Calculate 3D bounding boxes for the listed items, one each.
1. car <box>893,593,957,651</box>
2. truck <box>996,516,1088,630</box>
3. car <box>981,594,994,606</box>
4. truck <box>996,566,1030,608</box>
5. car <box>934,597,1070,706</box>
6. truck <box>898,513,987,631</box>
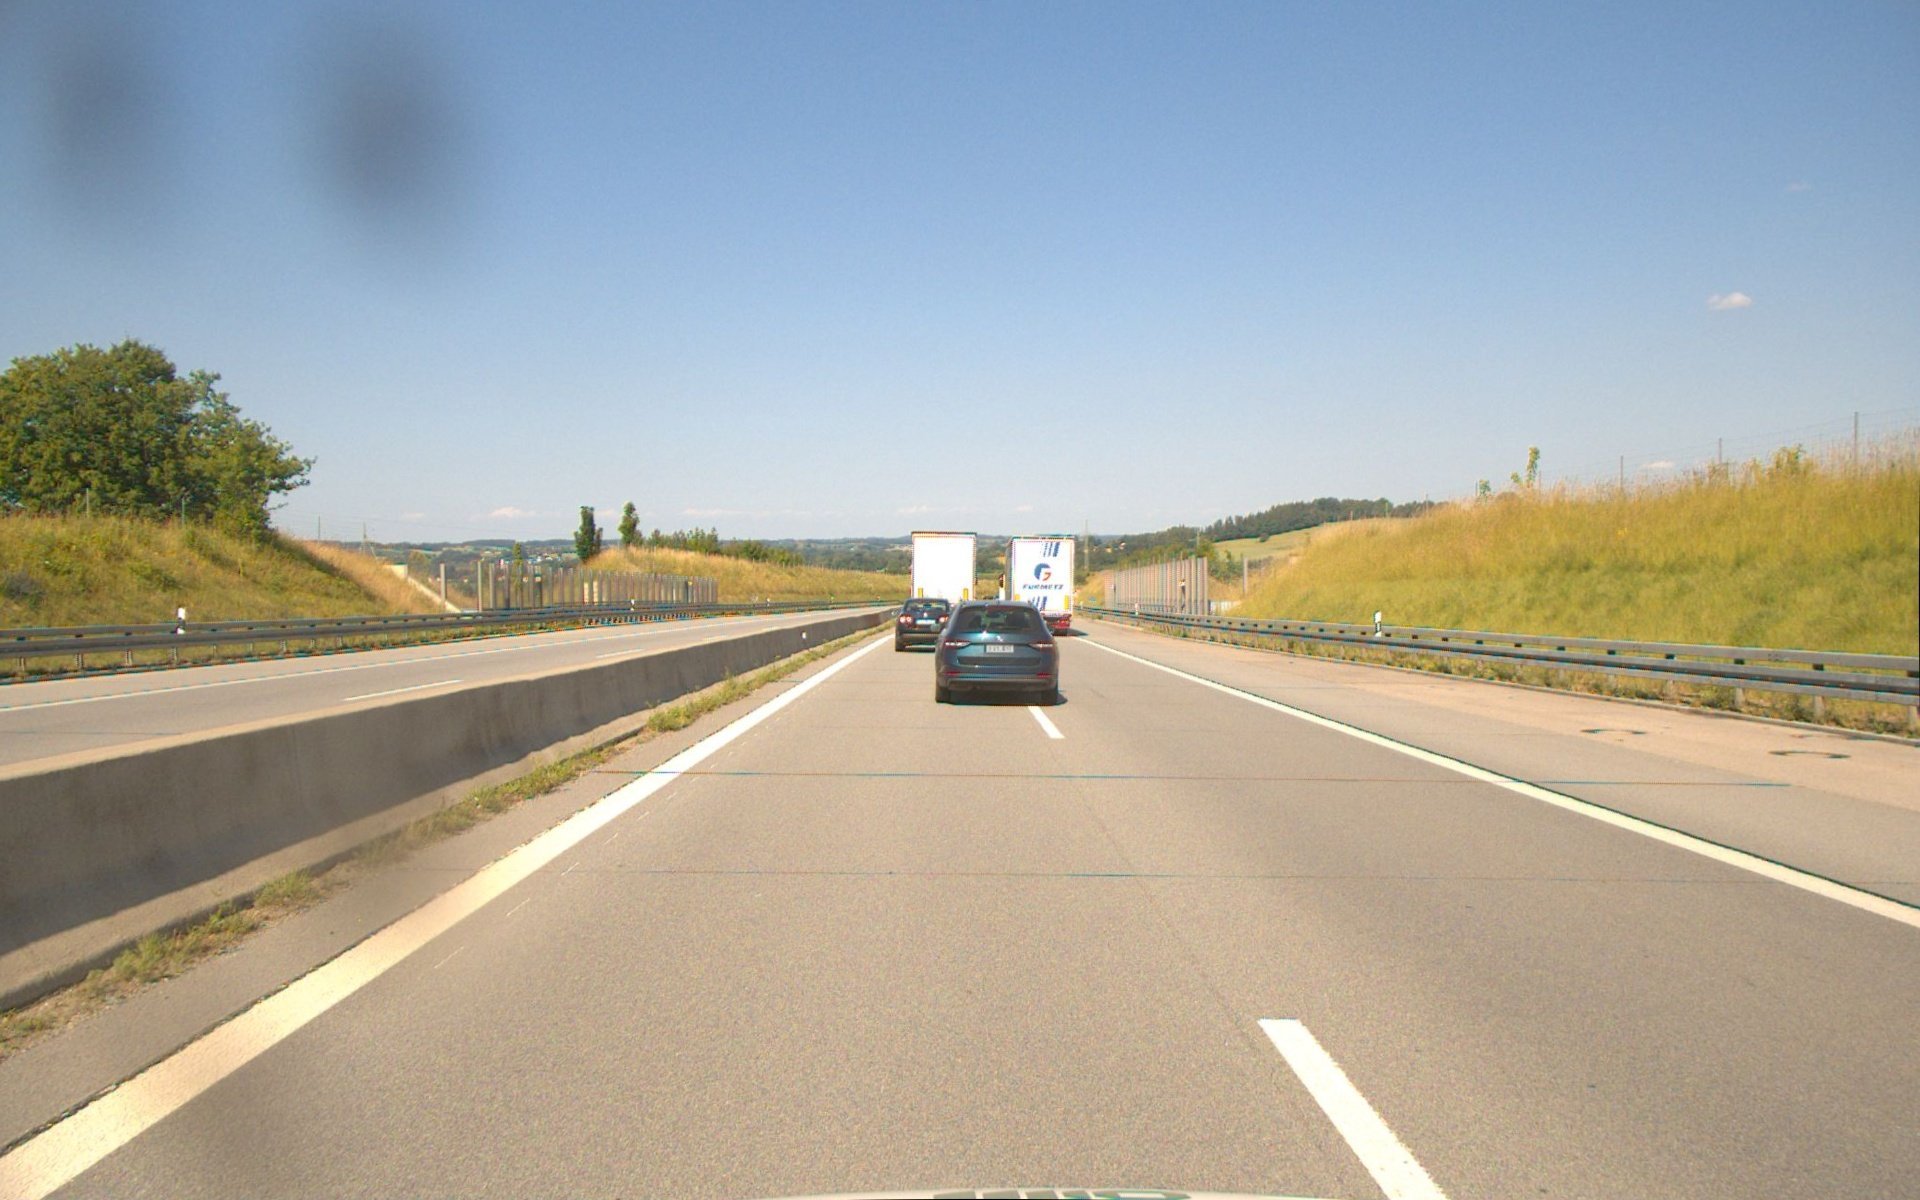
[{"bbox_3d":[-1.008,0.573,46.132,1.666,1.466,3.998,-2,0,-2],"label":"car"},{"bbox_3d":[3.437,-1.112,72.416,3.530,4.457,11.235,-2,0,1],"label":"truck"},{"bbox_3d":[3.648,-0.020,219.745,1.665,1.466,4.000,0,0,0],"label":"car"},{"bbox_3d":[5.944,-1.509,187.972,3.530,4.457,11.235,-2,0,1],"label":"truck"},{"bbox_3d":[0.546,0.699,24.410,1.741,1.466,3.787,0,0,-3],"label":"car"},{"bbox_3d":[-0.577,-1.130,69.827,3.144,4.457,11.236,-2,0,2],"label":"truck"}]
